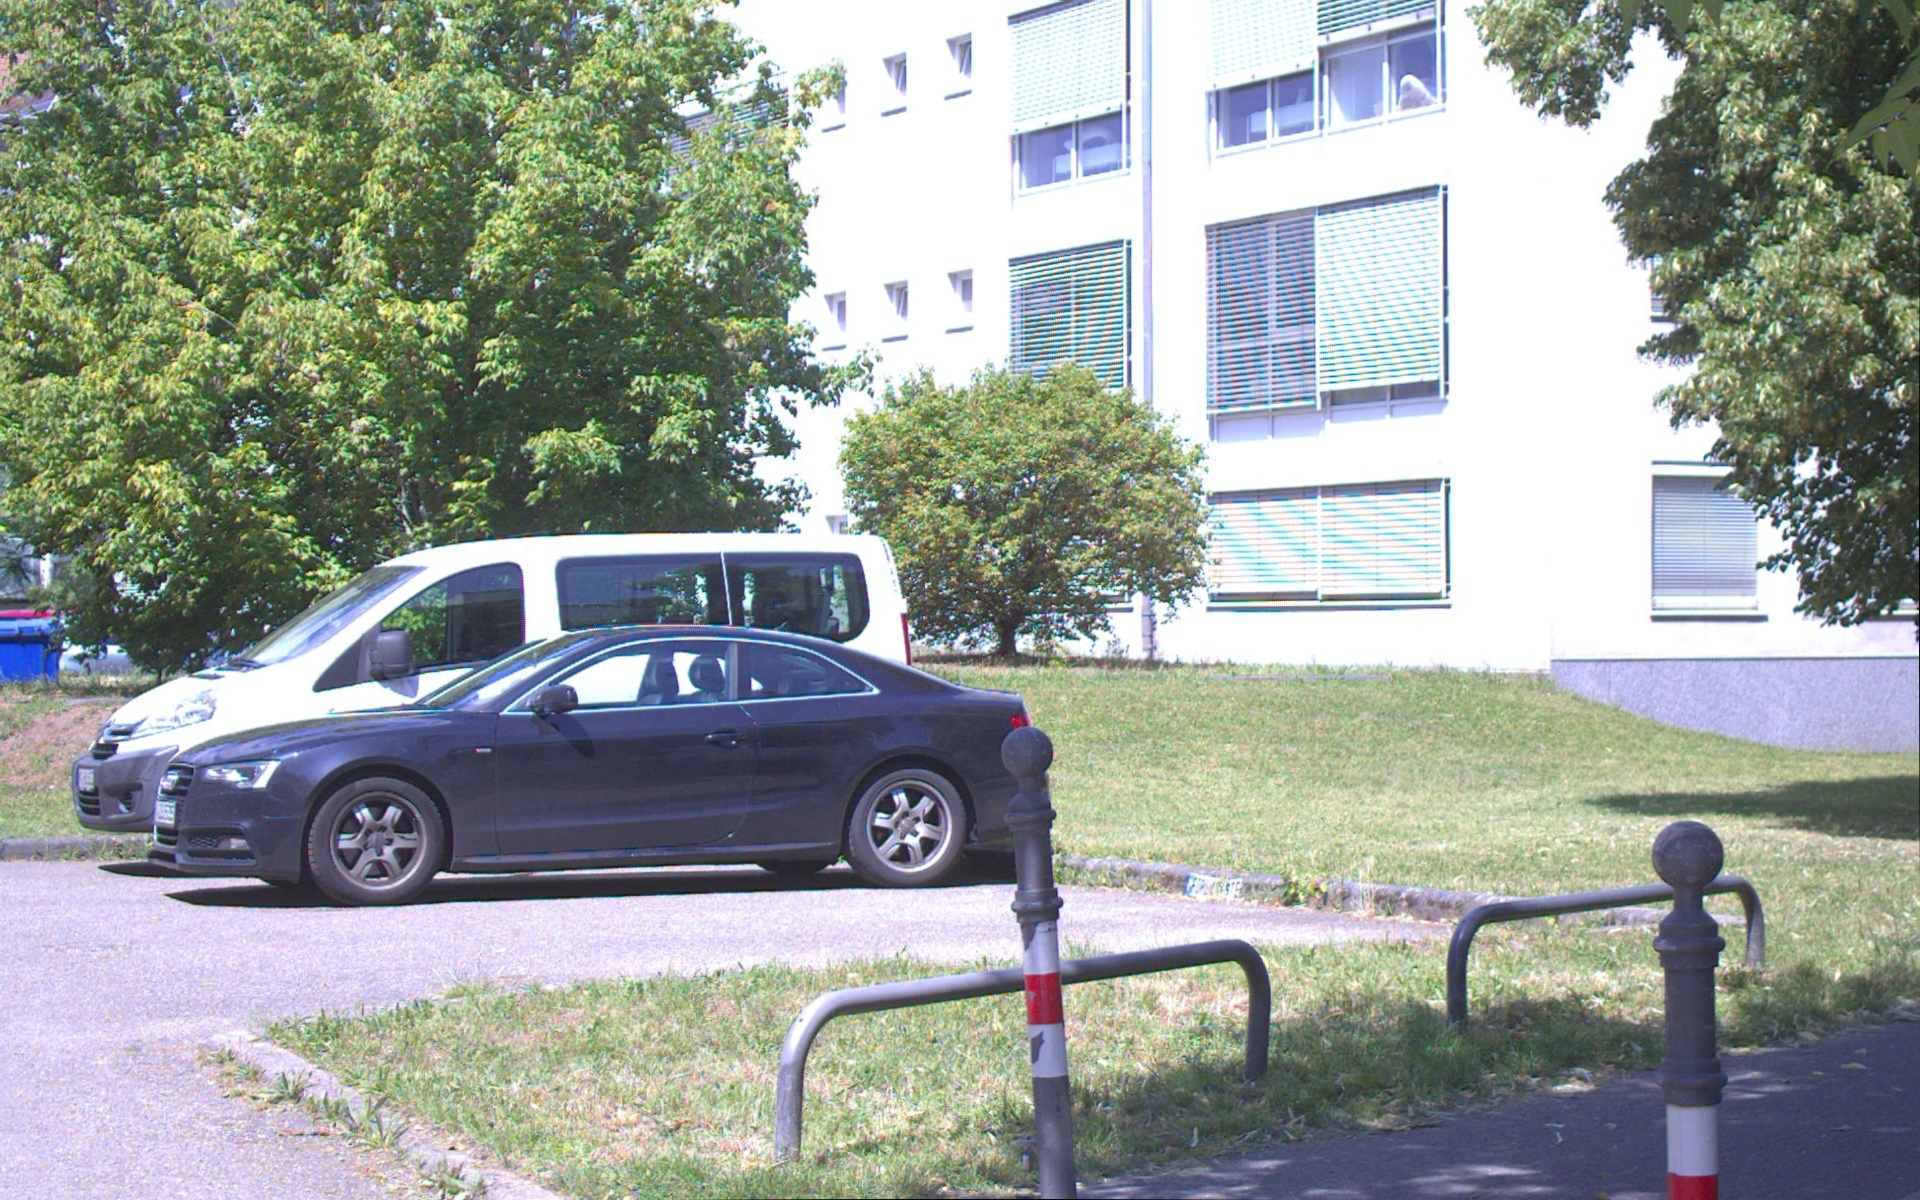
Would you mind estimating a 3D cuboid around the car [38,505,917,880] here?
[{"bbox_3d":[-2.834,0.506,20.269,4.758,2.007,2.000,0,-1,-24],"label":"car"}]

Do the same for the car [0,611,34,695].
[{"bbox_3d":[-17.634,0.897,57.269,3.986,1.385,1.805,0,0,-26],"label":"car"}]

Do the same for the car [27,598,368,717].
[{"bbox_3d":[-9.838,0.713,44.390,3.986,1.473,1.805,0,0,-26],"label":"car"}]

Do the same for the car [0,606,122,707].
[{"bbox_3d":[-14.707,0.839,51.303,3.986,1.473,1.805,0,0,-26],"label":"car"}]

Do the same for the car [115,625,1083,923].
[{"bbox_3d":[-1.843,0.819,17.692,4.610,1.347,1.834,0,0,-24],"label":"car"}]

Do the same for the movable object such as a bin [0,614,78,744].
[{"bbox_3d":[-9.974,0.820,35.997,1.216,1.322,1.160,0,0,-26],"label":"movable object such as a bin"}]

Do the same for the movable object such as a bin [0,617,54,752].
[{"bbox_3d":[-9.742,0.837,34.292,1.216,1.322,1.161,0,0,-22],"label":"movable object such as a bin"}]
